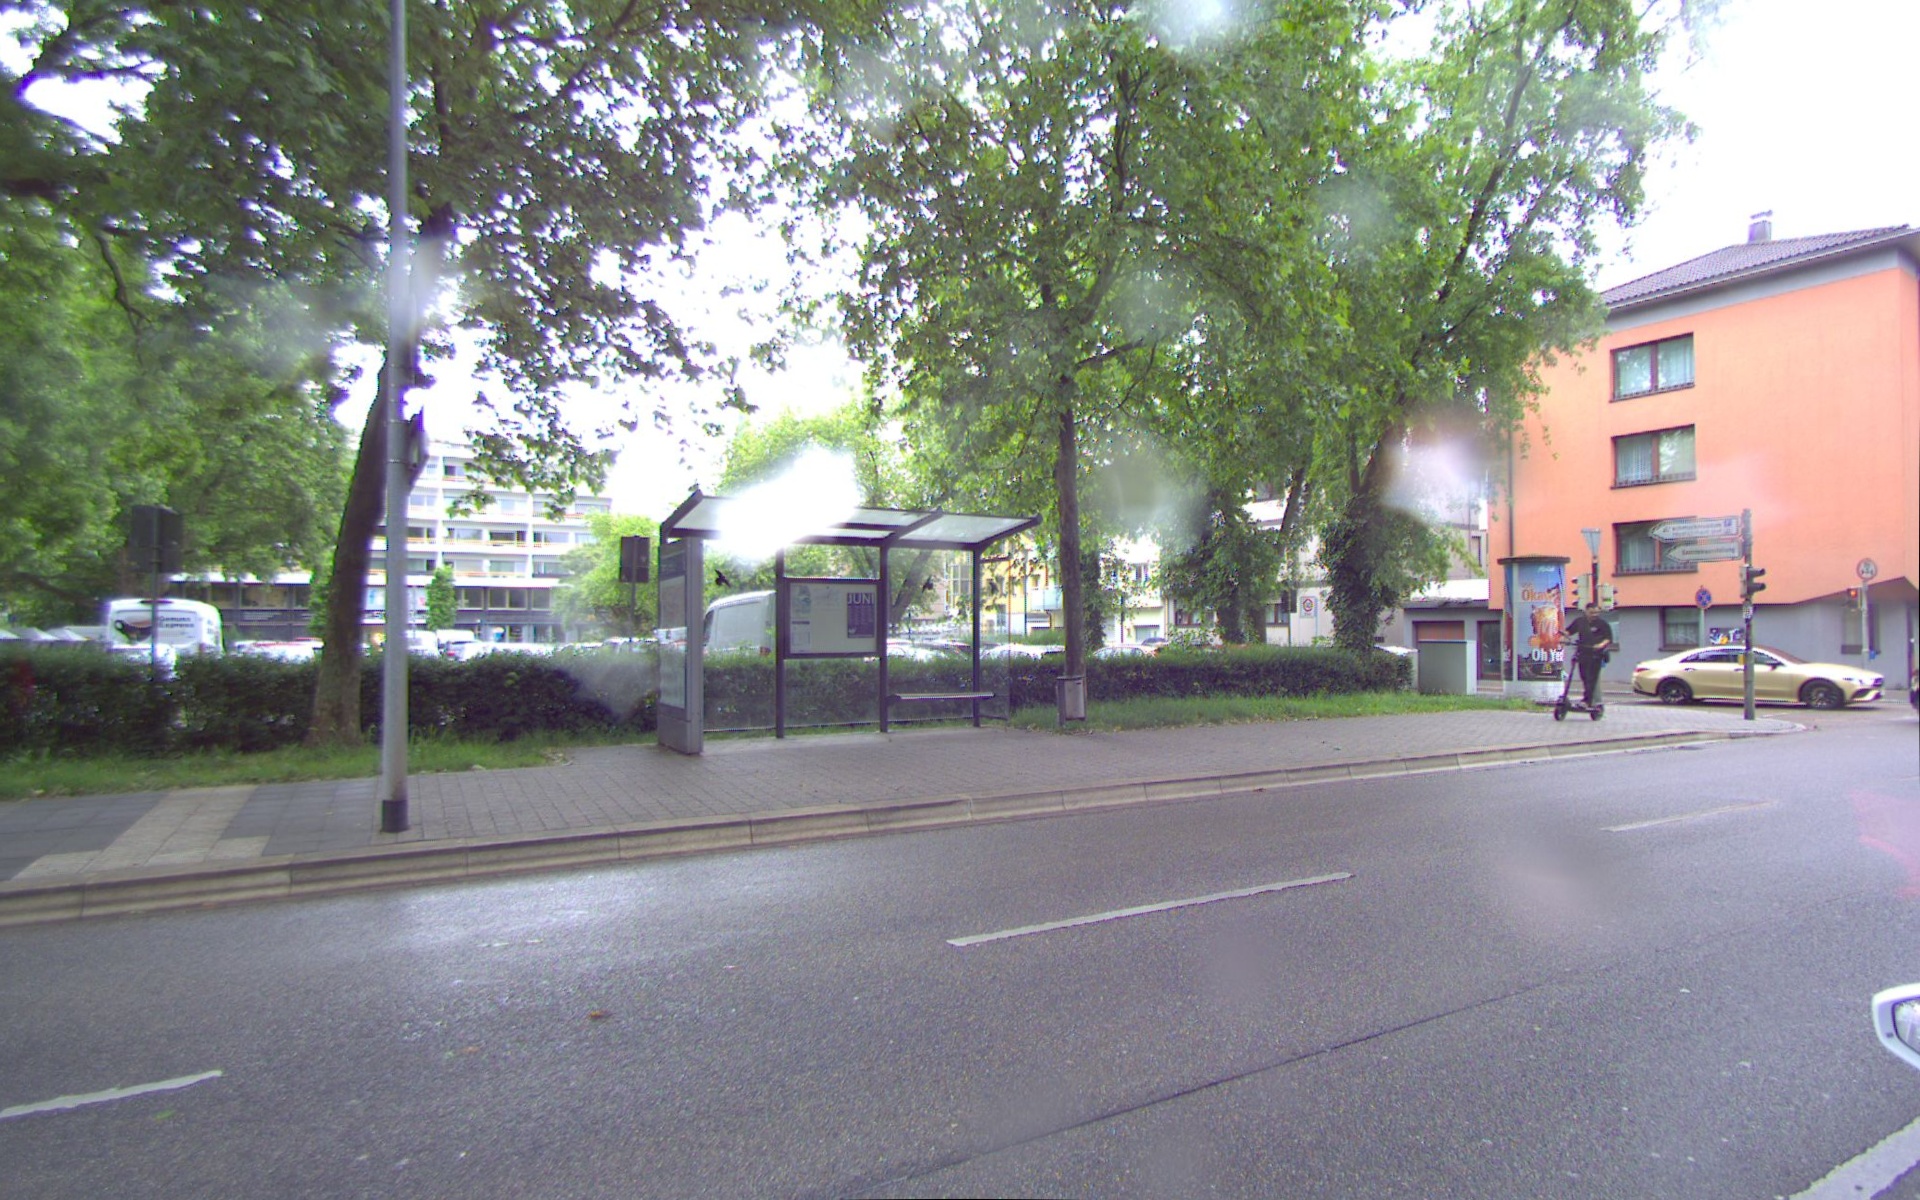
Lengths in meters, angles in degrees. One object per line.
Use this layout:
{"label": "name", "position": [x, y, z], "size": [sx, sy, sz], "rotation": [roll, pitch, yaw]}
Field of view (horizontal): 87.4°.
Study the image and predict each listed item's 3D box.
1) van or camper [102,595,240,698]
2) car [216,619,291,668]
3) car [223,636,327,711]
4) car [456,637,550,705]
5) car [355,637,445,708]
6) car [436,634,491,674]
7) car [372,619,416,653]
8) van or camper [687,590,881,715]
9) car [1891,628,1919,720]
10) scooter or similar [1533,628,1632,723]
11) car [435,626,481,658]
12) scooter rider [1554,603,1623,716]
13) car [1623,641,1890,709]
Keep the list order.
{"label": "van or camper", "position": [-20.643, 1.191, 26.488], "size": [2.073, 2.463, 4.310], "rotation": [1, -2, -28]}
{"label": "car", "position": [-25.061, 1.497, 35.745], "size": [1.876, 1.506, 3.966], "rotation": [2, 0, -31]}
{"label": "car", "position": [-16.866, 1.743, 24.906], "size": [1.876, 1.506, 3.966], "rotation": [2, 0, -31]}
{"label": "car", "position": [-12.523, 1.870, 27.415], "size": [1.876, 1.506, 3.966], "rotation": [2, 0, -31]}
{"label": "car", "position": [-14.617, 1.809, 26.123], "size": [1.876, 1.506, 3.966], "rotation": [2, 0, -31]}
{"label": "car", "position": [-22.116, 2.363, 44.695], "size": [1.876, 1.506, 3.966], "rotation": [2, 0, -31]}
{"label": "car", "position": [-32.484, 2.052, 57.619], "size": [2.075, 1.745, 3.966], "rotation": [2, 0, -31]}
{"label": "van or camper", "position": [-3.355, 0.912, 18.377], "size": [1.978, 1.975, 4.572], "rotation": [1, -2, -31]}
{"label": "car", "position": [17.497, 1.243, 16.409], "size": [1.815, 1.646, 4.138], "rotation": [-1, -3, 20]}
{"label": "scooter or similar", "position": [10.123, 1.216, 16.327], "size": [1.382, 1.465, 0.810], "rotation": [2, -1, -31]}
{"label": "car", "position": [-26.974, 2.216, 53.949], "size": [1.876, 1.506, 3.966], "rotation": [2, 0, -31]}
{"label": "scooter rider", "position": [10.219, 0.957, 16.341], "size": [0.637, 1.789, 0.730], "rotation": [2, -2, -29]}
{"label": "car", "position": [18.493, 1.696, 23.525], "size": [1.816, 1.422, 4.600], "rotation": [2, -3, -38]}
